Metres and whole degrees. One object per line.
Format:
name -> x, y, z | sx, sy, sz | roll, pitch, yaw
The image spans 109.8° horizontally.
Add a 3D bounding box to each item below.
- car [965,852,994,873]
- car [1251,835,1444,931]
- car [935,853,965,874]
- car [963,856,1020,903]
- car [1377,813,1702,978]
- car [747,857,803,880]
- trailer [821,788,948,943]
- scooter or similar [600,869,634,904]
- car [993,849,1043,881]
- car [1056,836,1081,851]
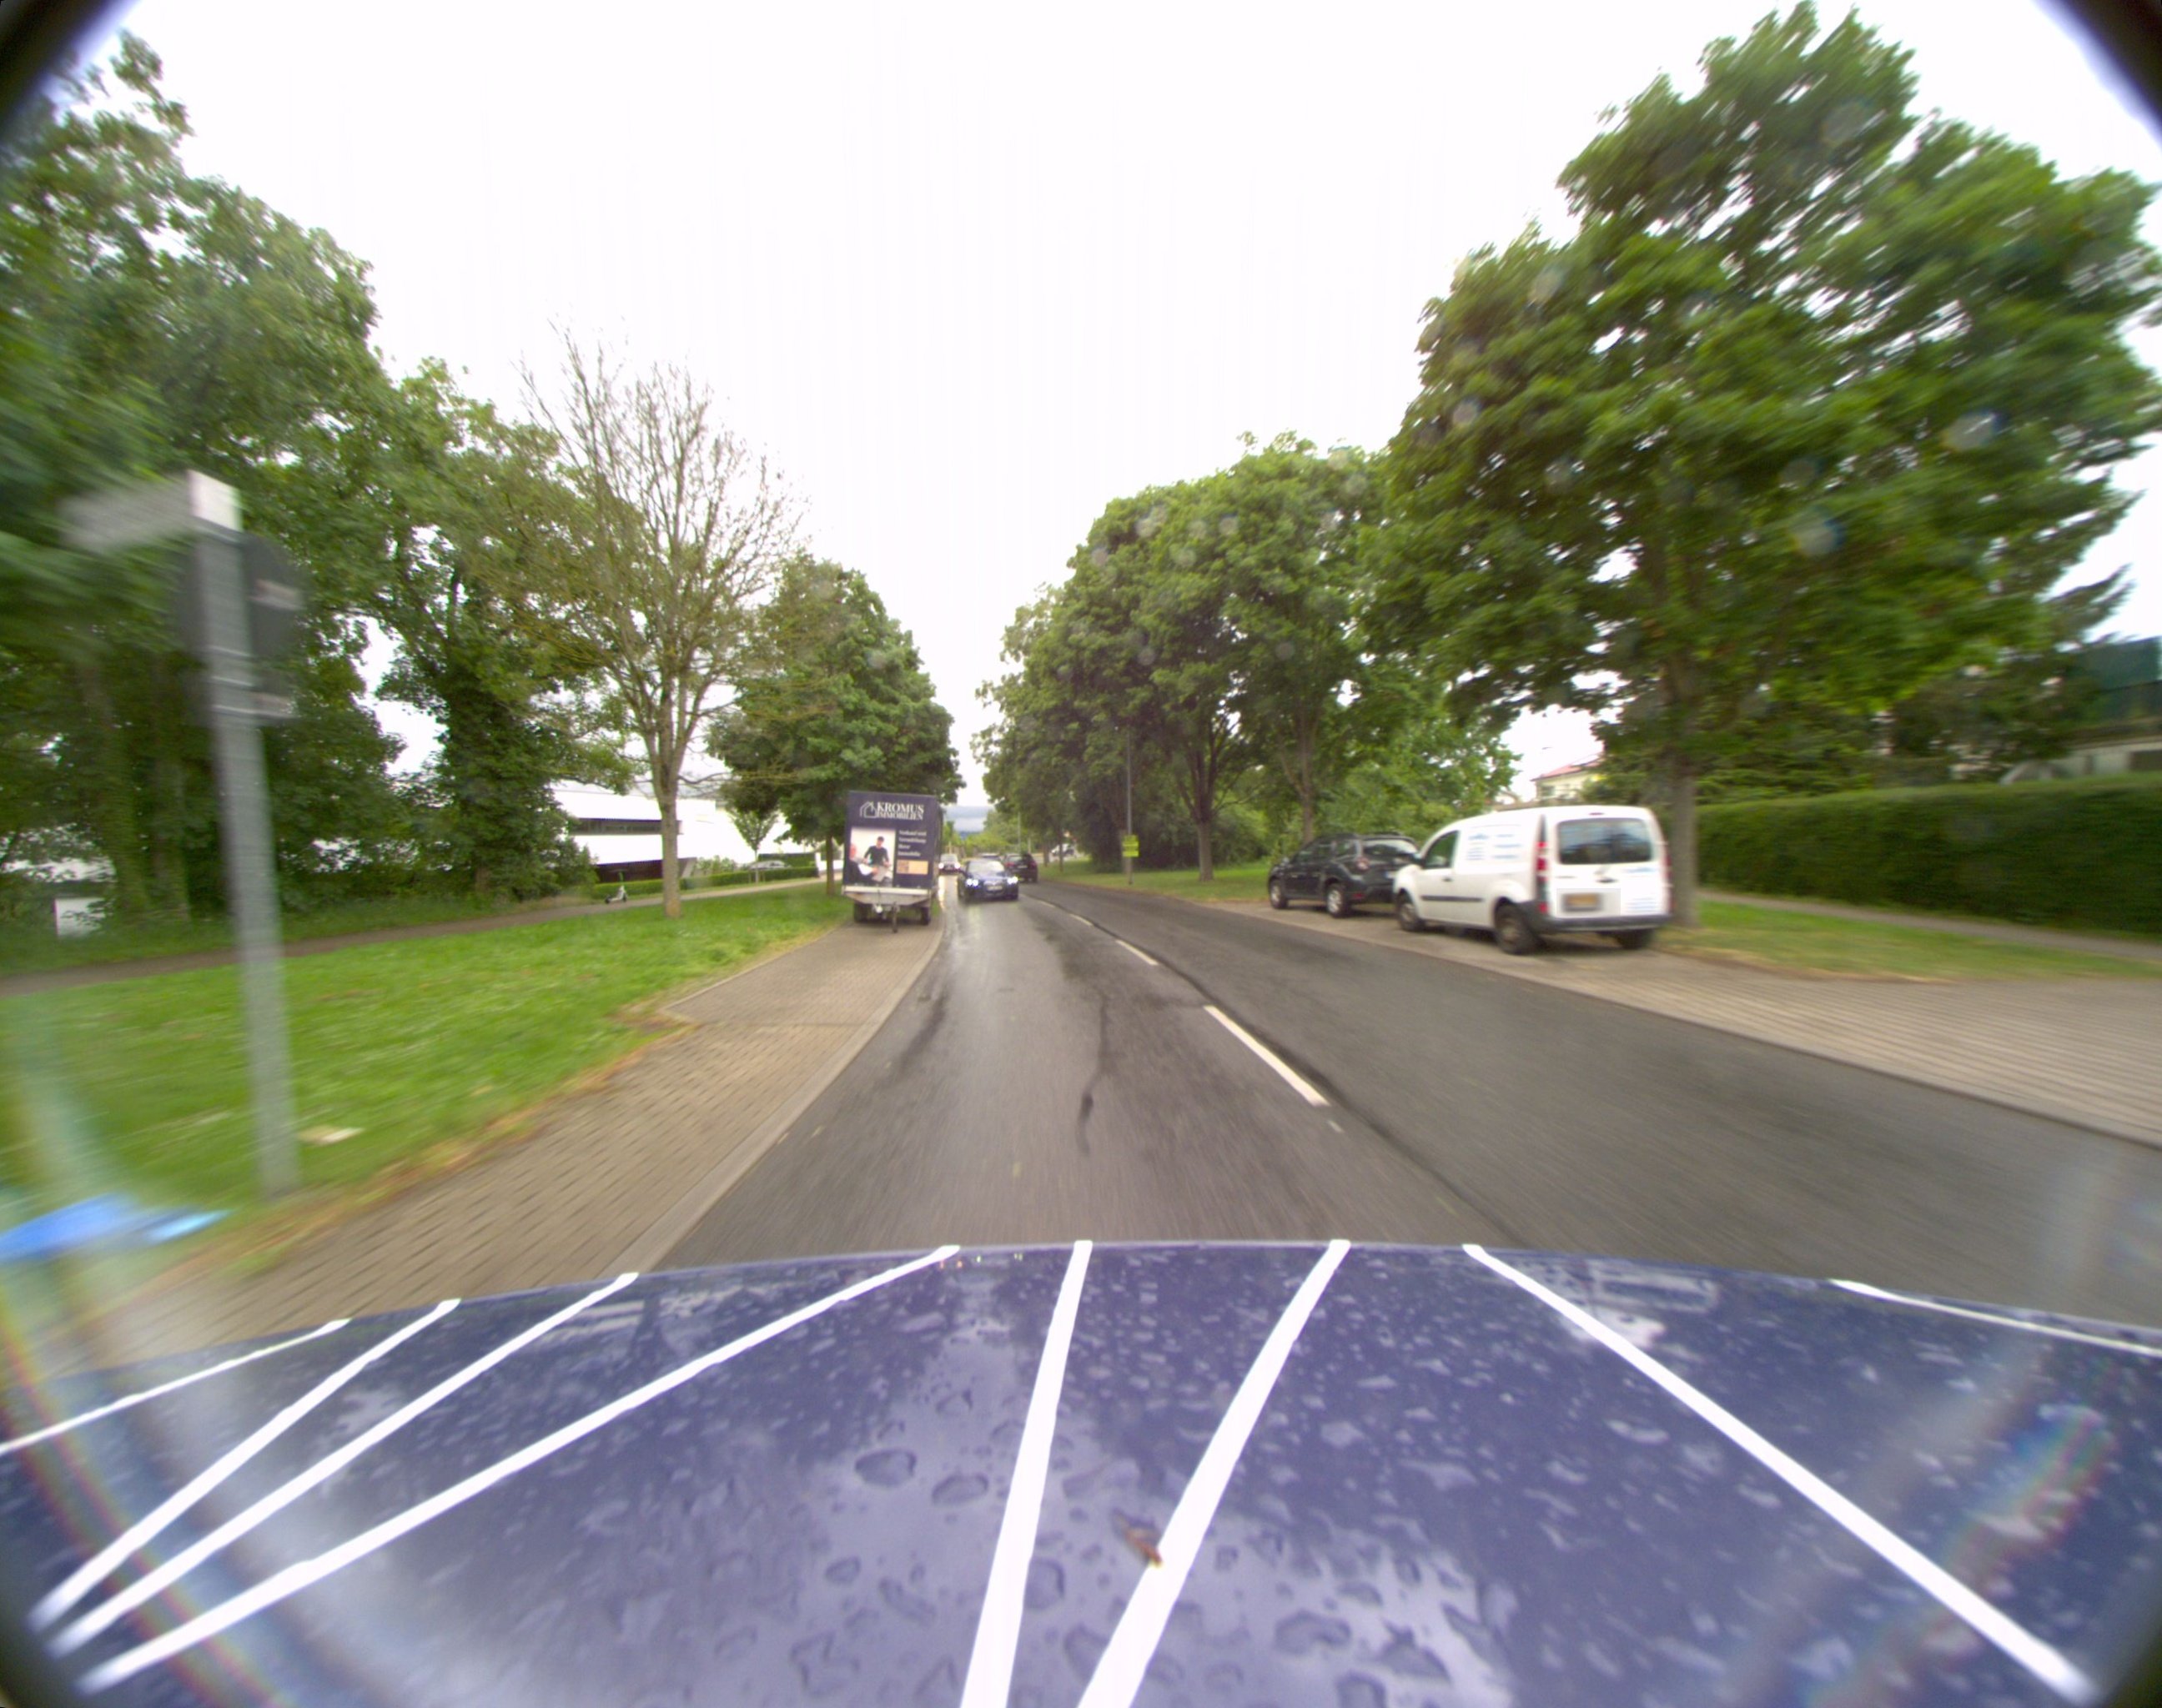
car -> -7.860, 0.645, 58.620 | 1.796, 1.528, 4.087 | -2, 0, -14
car -> 5.366, 0.476, 16.027 | 1.756, 1.631, 4.587 | -3, 2, -10
car -> -9.850, 0.693, 56.834 | 1.931, 1.375, 4.302 | -3, 2, -12
car -> -3.332, 0.856, 27.690 | 1.817, 1.460, 3.971 | -2, 1, -9
car -> 6.029, 0.441, 10.752 | 1.803, 1.785, 4.371 | -3, 1, -2
car -> -24.442, 1.135, 60.800 | 1.924, 1.541, 4.462 | -3, 2, 11
trailer -> -4.175, 0.217, 17.063 | 2.000, 2.792, 5.603 | 4, 0, -9
scooter or similar -> -16.186, 1.119, 26.543 | 0.464, 1.140, 1.300 | 0, 1, -5
car -> -3.593, 0.588, 42.566 | 1.859, 1.682, 4.398 | -2, 0, -17
car -> -1.736, -1.429, 105.100 | 1.996, 1.848, 4.005 | -2, 2, 21
